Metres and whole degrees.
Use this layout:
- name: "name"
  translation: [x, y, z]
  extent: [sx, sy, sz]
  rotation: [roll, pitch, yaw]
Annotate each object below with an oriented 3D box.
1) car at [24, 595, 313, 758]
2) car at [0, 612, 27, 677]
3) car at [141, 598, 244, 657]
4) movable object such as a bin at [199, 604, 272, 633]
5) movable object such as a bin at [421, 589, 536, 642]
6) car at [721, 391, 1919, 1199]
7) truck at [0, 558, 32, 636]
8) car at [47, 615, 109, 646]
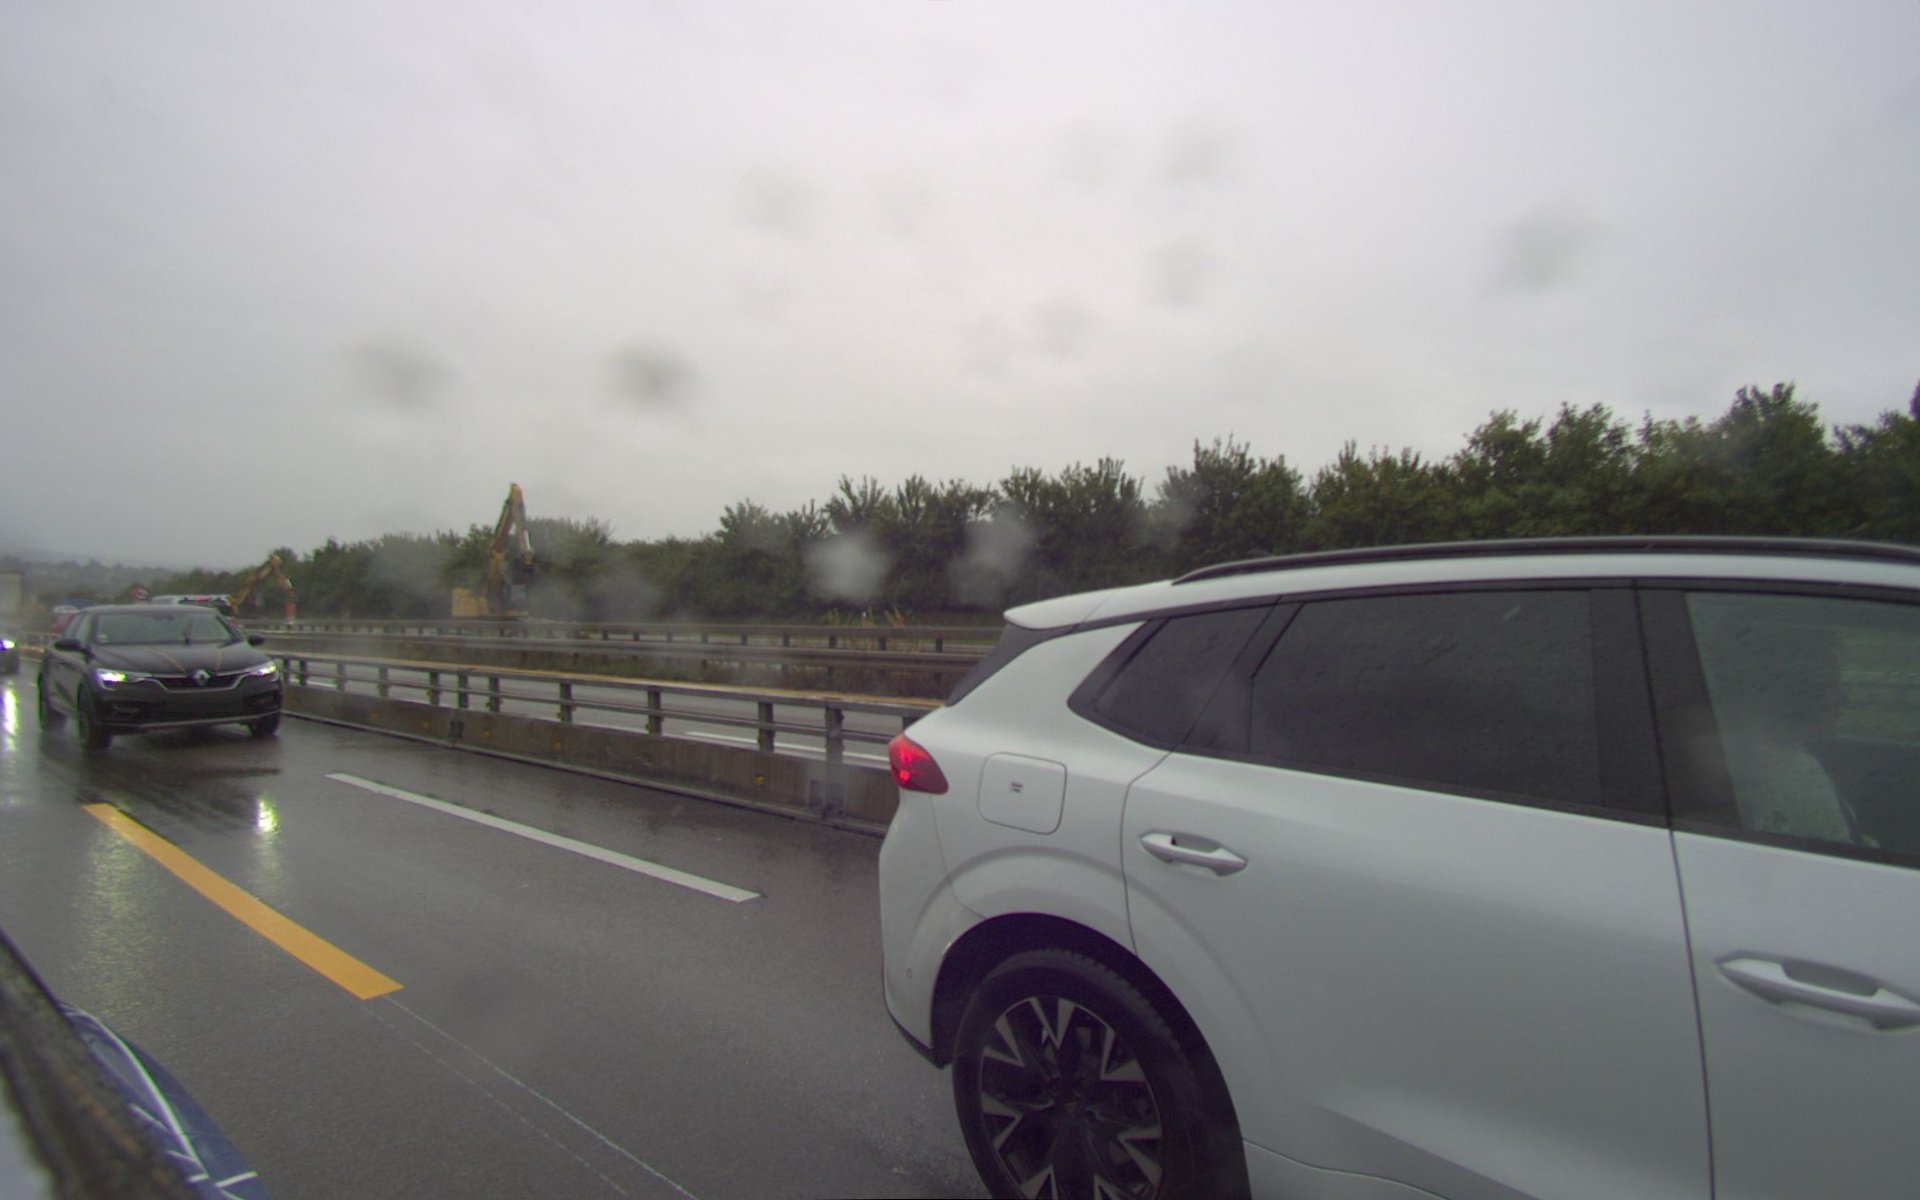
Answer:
- name: "car"
  translation: [-9.629, 0.774, 12.179]
  extent: [4.411, 1.597, 1.973]
  rotation: [-1, 0, 41]
- name: "car"
  translation: [-24.426, 1.062, 24.579]
  extent: [4.626, 1.509, 1.974]
  rotation: [-1, 0, 39]
- name: "car"
  translation: [-25.573, 0.873, 33.651]
  extent: [5.054, 1.820, 1.871]
  rotation: [-1, 0, 42]
- name: "movable object such as a bin"
  translation: [-59.479, 1.499, 83.048]
  extent: [5.089, 2.312, 3.409]
  rotation: [-1, 0, 35]
- name: "movable object such as a bin"
  translation: [-27.235, 0.846, 57.134]
  extent: [6.328, 2.819, 3.725]
  rotation: [-1, 0, 42]
- name: "car"
  translation: [1.739, 0.555, 2.053]
  extent: [4.795, 1.629, 1.972]
  rotation: [-1, 0, 42]
- name: "truck"
  translation: [-66.086, -0.094, 68.222]
  extent: [15.974, 4.873, 3.241]
  rotation: [-1, 0, 40]
- name: "car"
  translation: [-42.870, 1.463, 49.149]
  extent: [3.829, 1.439, 1.683]
  rotation: [-1, 0, 40]
